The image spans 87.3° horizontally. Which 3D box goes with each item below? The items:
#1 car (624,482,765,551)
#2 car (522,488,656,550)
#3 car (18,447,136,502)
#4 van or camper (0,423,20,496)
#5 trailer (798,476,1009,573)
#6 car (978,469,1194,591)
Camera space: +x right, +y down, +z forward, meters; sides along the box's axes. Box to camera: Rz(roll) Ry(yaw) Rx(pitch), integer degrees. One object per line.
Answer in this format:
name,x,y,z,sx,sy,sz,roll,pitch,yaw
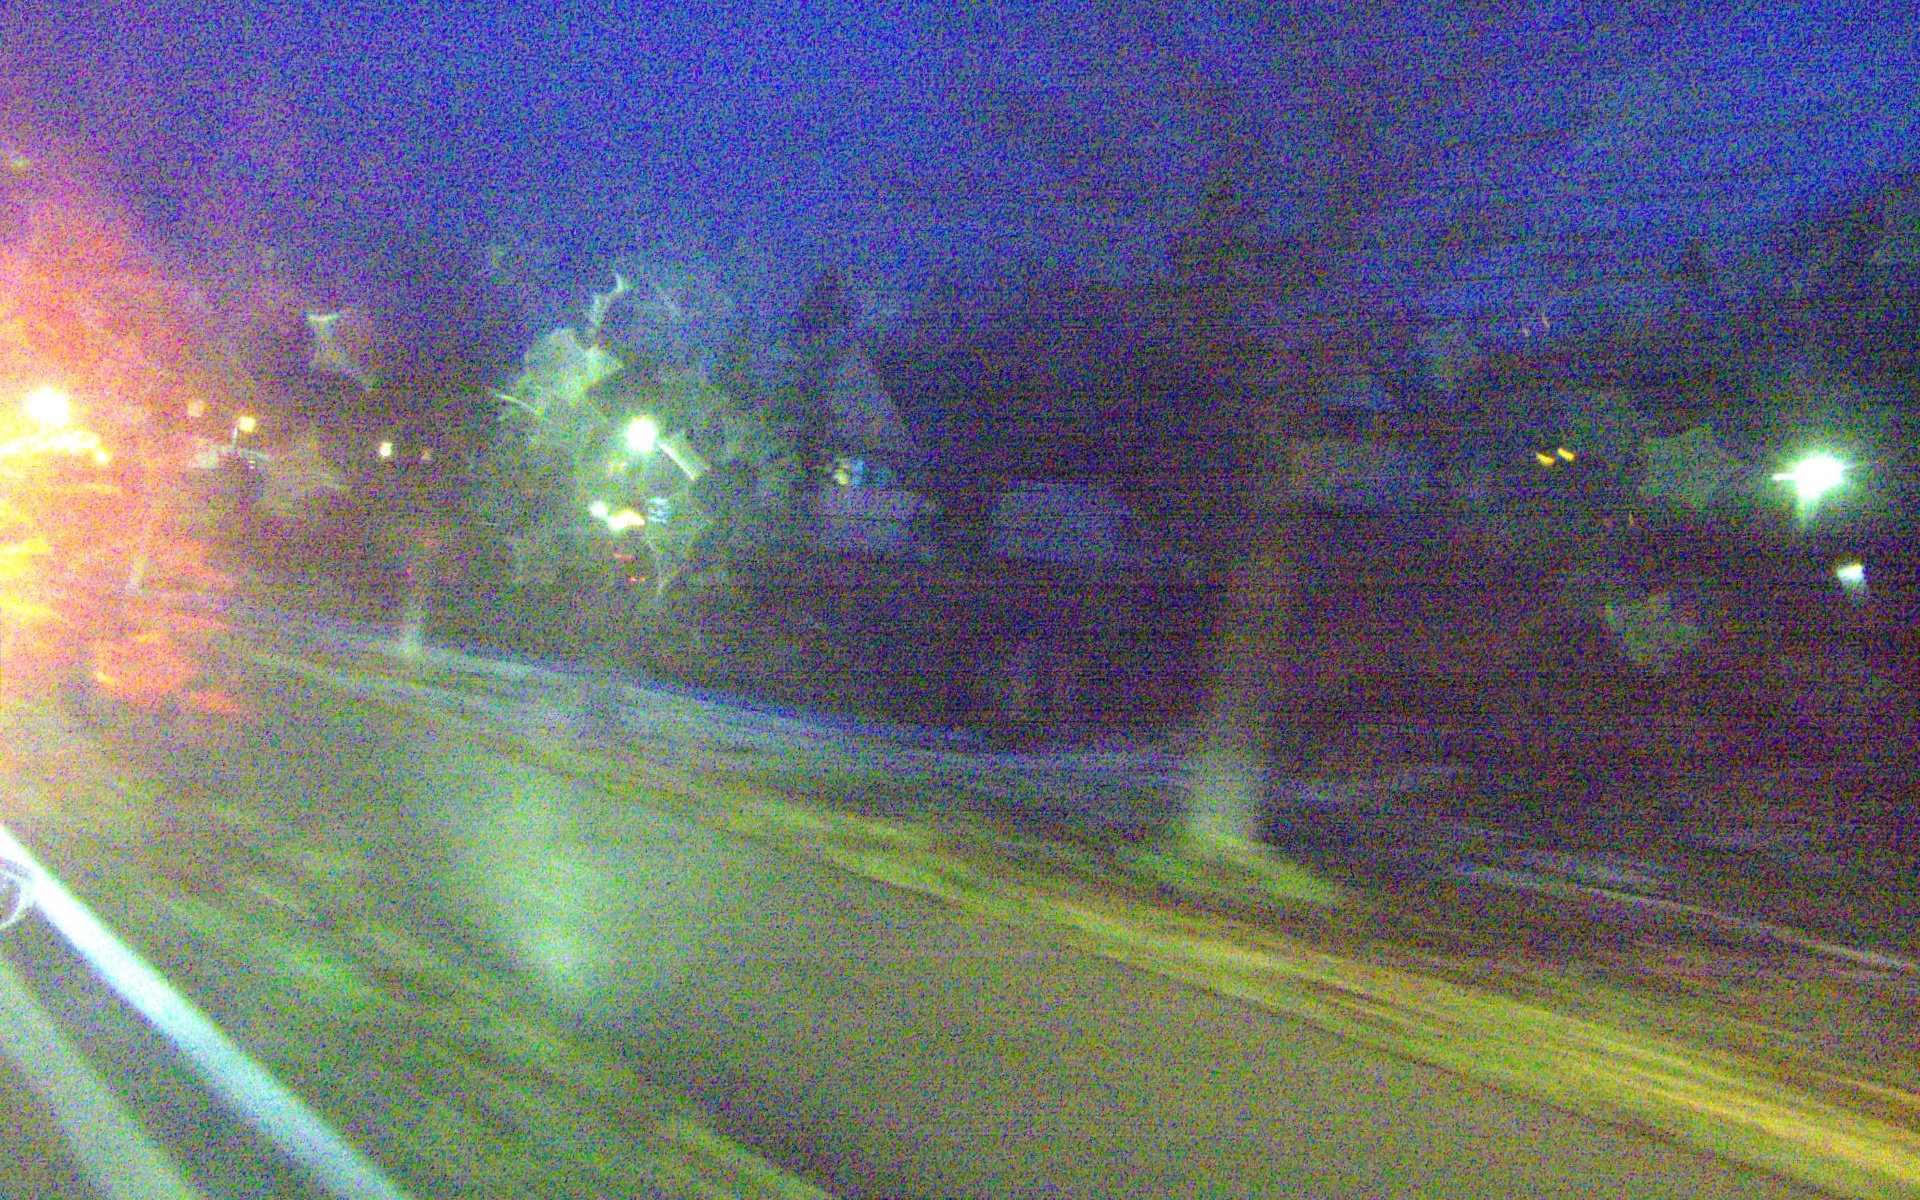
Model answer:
car,-8.458,-2.656,32.078,3.925,1.659,1.619,7,-2,18
car,-12.347,-2.700,33.511,3.925,1.489,1.619,7,-2,18
car,-36.422,-5.179,41.498,4.056,1.636,1.643,7,-1,17
van or camper,-43.438,-6.338,42.341,6.238,2.943,2.591,7,-1,16
trailer,-1.661,-2.226,29.733,5.614,2.096,2.234,7,-1,20
car,3.498,-1.939,27.859,5.350,2.666,2.122,7,-1,20
